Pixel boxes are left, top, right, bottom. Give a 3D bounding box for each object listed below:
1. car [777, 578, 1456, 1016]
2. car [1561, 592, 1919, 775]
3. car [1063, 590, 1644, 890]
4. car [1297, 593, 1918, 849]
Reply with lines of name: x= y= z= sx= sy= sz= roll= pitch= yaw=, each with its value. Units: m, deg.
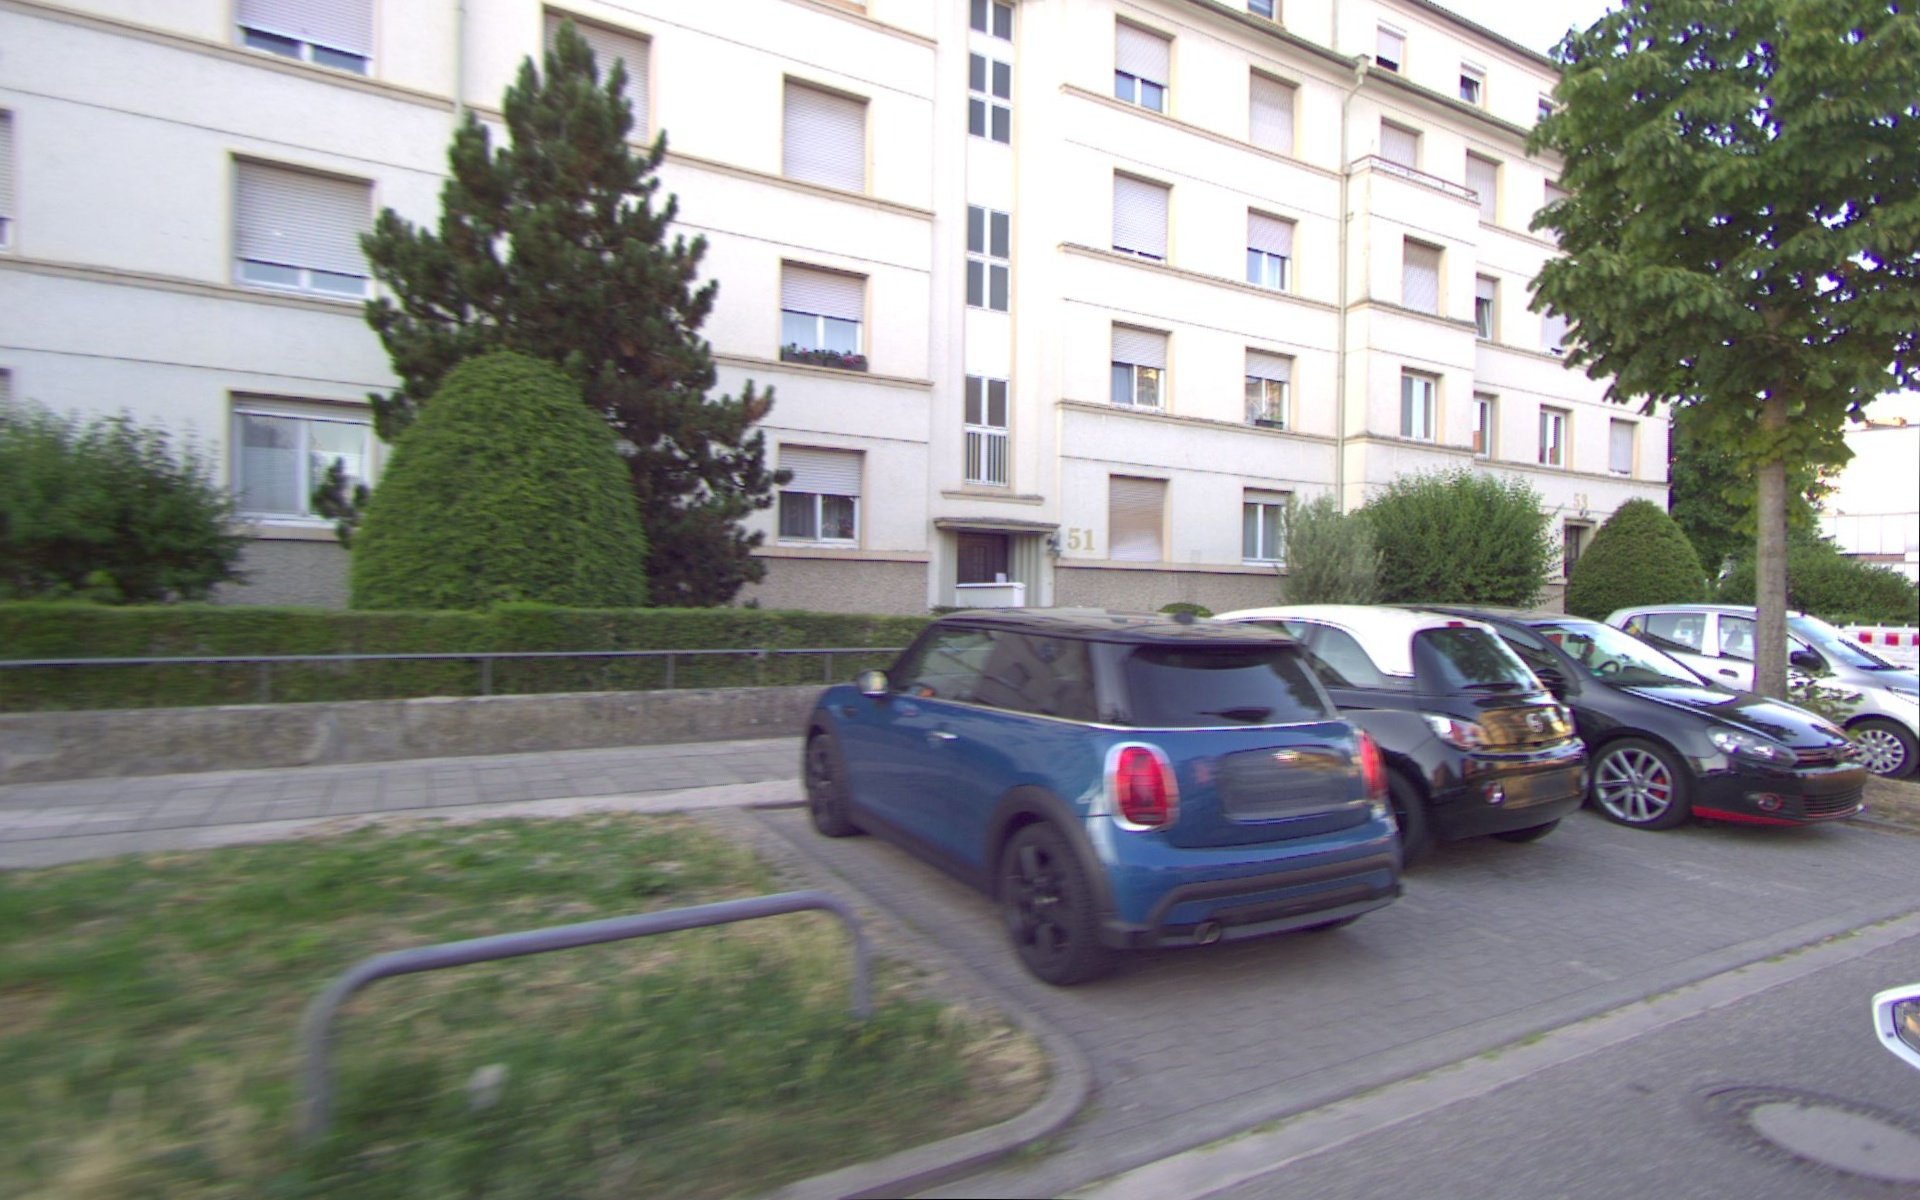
car: x=0.435 y=0.654 z=5.388 sx=1.707 sy=1.464 sz=3.661 roll=2 pitch=0 yaw=-28
car: x=8.607 y=0.767 z=10.613 sx=1.709 sy=1.587 sz=3.455 roll=2 pitch=0 yaw=-32
car: x=2.451 y=0.717 z=7.182 sx=1.706 sy=1.504 sz=3.664 roll=1 pitch=1 yaw=-27
car: x=4.901 y=0.752 z=8.269 sx=1.706 sy=1.509 sz=3.963 roll=2 pitch=0 yaw=-27
